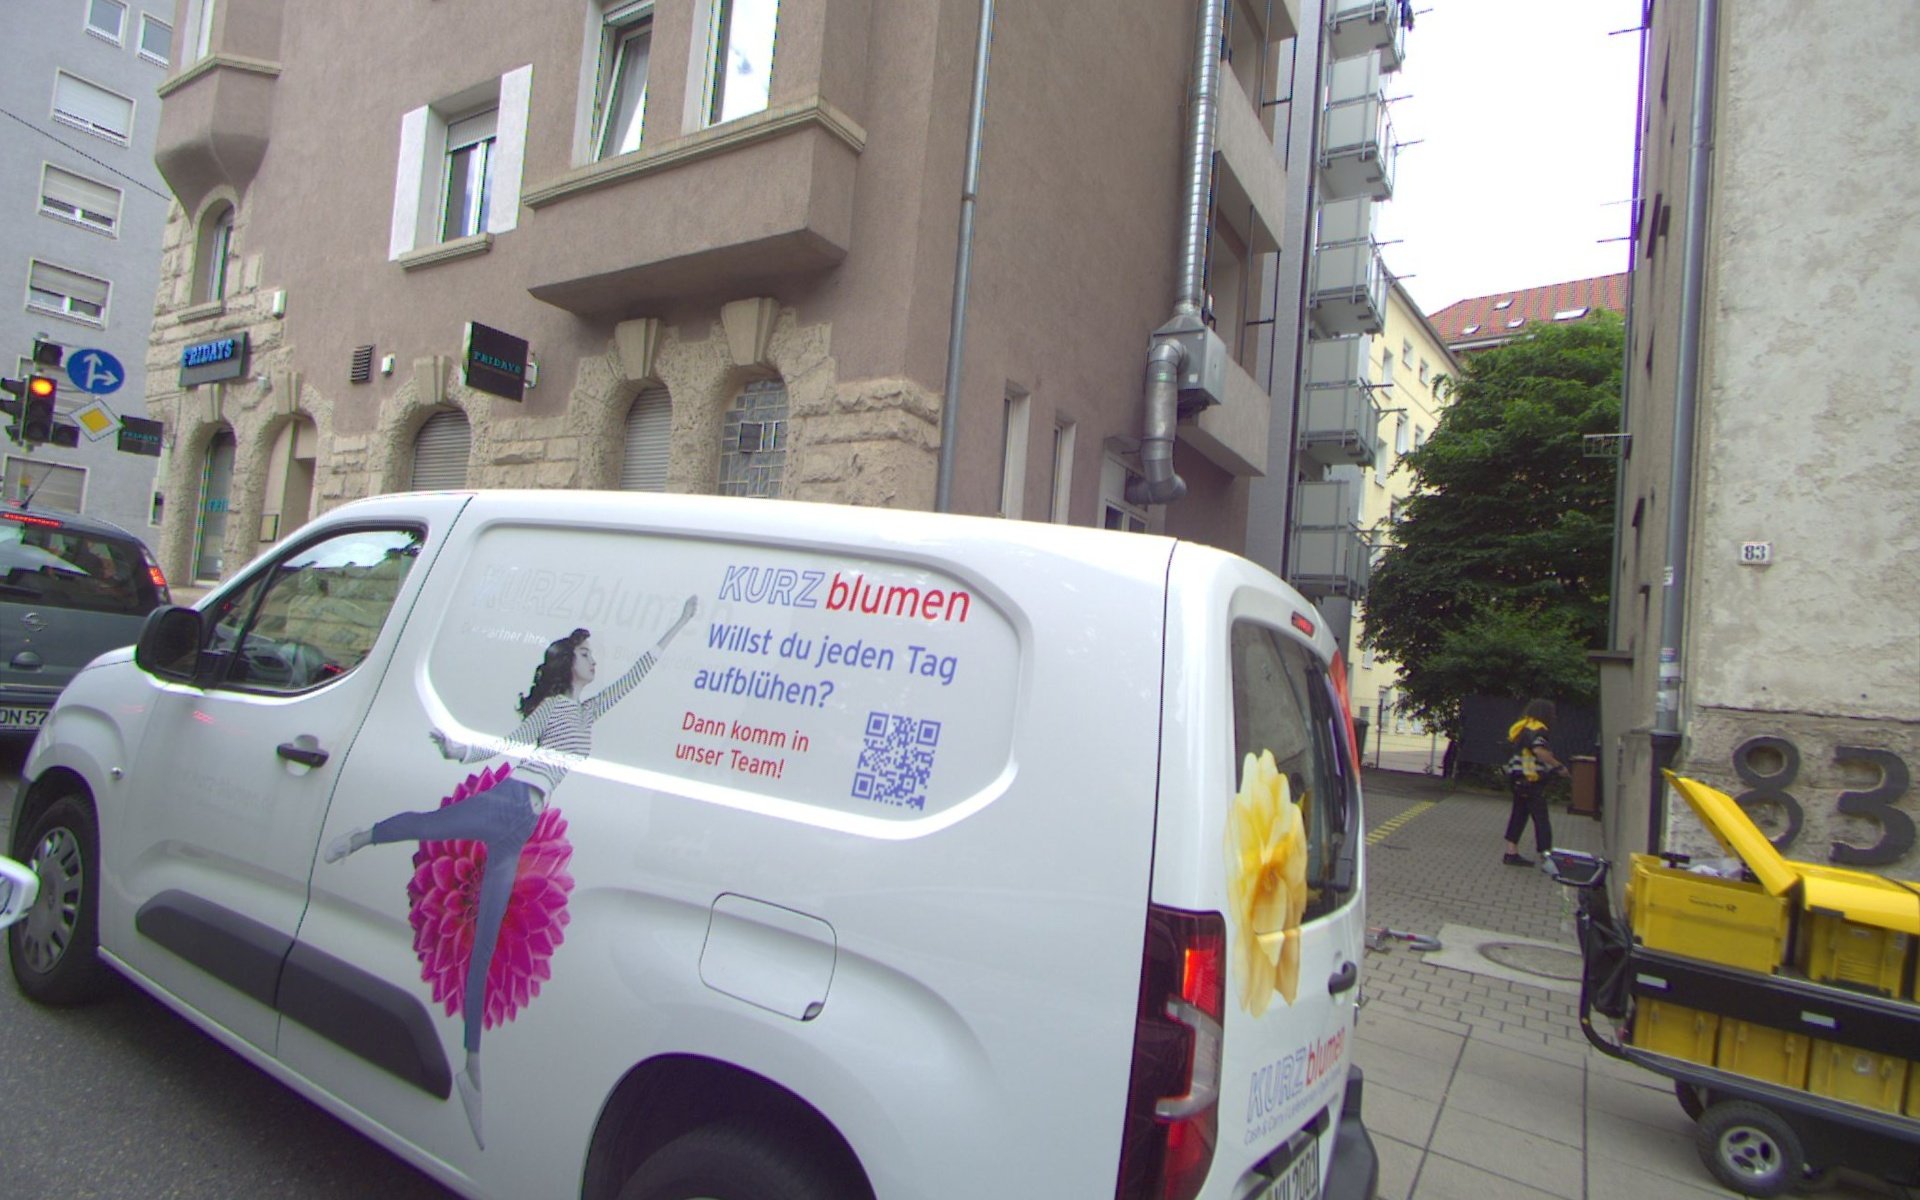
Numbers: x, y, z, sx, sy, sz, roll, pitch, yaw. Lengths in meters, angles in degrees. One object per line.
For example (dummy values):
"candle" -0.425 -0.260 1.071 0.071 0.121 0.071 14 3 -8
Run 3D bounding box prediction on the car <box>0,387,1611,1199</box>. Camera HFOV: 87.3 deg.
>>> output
"car" -0.884 0.578 3.122 4.597 1.793 1.983 6 -5 30

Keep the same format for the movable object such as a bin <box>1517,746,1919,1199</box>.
"movable object such as a bin" 3.403 1.463 3.965 1.979 1.391 1.223 6 0 30

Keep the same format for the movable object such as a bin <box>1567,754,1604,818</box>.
"movable object such as a bin" 9.932 2.945 15.990 0.405 0.922 0.340 6 -1 32

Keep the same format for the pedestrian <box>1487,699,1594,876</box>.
"pedestrian" 5.922 1.876 10.303 0.769 1.665 0.812 1 -3 17

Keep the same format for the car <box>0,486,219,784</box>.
"car" -6.710 0.049 6.538 3.608 1.614 1.634 6 -5 32

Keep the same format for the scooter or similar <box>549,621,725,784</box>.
"scooter or similar" -2.683 0.815 8.313 1.400 1.117 0.527 6 -1 34
